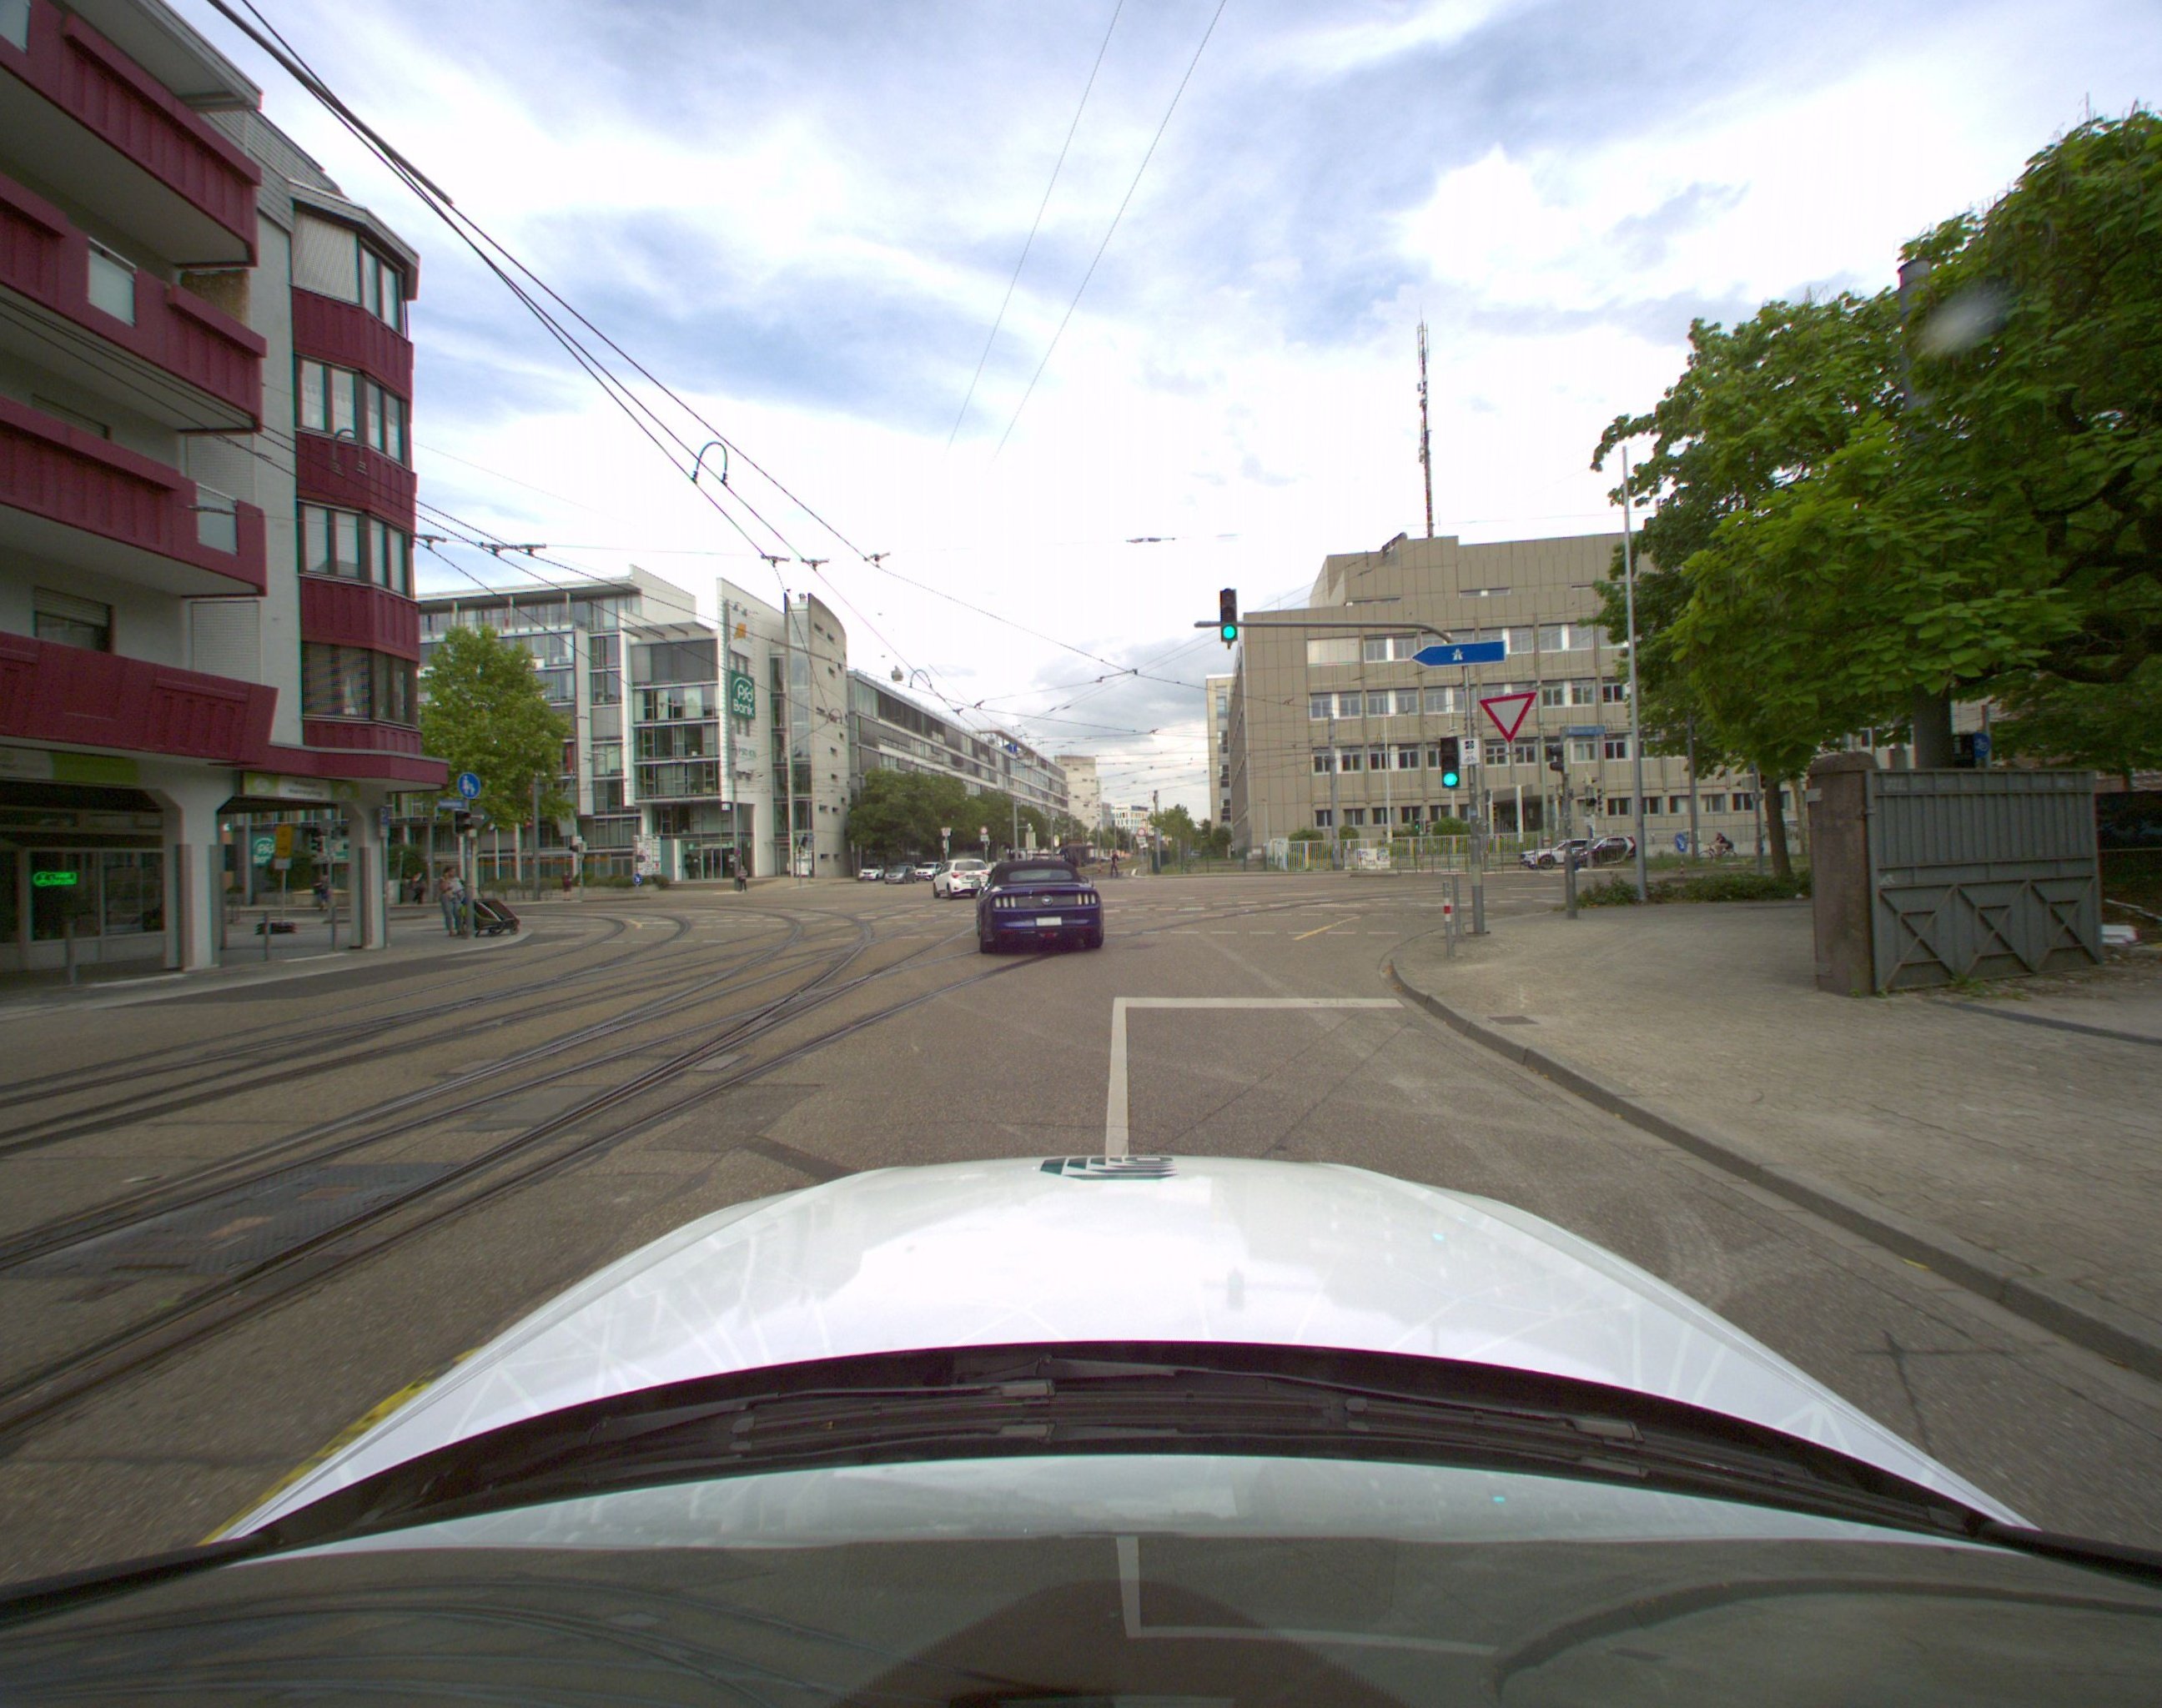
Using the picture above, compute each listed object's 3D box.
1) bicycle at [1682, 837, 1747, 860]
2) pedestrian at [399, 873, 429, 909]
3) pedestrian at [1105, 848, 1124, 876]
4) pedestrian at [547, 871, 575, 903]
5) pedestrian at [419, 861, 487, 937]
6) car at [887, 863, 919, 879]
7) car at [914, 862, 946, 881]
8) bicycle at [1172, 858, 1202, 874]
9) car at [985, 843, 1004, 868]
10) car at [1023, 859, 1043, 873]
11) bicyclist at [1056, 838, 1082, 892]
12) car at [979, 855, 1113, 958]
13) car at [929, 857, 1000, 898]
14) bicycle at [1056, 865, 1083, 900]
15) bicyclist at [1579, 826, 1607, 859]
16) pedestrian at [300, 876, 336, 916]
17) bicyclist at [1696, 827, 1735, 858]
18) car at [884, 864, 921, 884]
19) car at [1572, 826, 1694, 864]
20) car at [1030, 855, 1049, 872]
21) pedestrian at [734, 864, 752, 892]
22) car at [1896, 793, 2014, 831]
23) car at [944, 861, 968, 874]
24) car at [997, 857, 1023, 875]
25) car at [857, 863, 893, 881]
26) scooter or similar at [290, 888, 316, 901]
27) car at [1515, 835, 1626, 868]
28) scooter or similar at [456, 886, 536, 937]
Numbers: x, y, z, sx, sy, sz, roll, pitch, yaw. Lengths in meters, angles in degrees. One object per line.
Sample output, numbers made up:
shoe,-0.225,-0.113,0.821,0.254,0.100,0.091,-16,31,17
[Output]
bicycle,32.901,-0.261,42.341,2.537,1.086,0.805,-2,-1,11
pedestrian,-35.548,1.944,43.405,0.839,1.855,0.841,-2,-1,2
pedestrian,2.362,0.573,57.073,1.078,1.898,0.905,-2,-1,12
pedestrian,-27.663,1.748,43.339,0.928,1.671,0.769,-2,-1,16
pedestrian,-15.065,1.059,19.560,0.944,1.743,0.812,-2,-1,0
car,-18.111,1.684,82.934,1.819,1.556,4.225,0,0,8
car,-13.877,1.572,74.982,1.705,1.660,4.142,0,0,8
bicycle,7.277,0.843,56.137,0.637,0.981,2.133,-2,-3,-38
car,-12.733,0.219,119.948,1.977,3.637,4.518,0,0,5
car,-5.563,1.377,94.888,1.860,1.606,4.217,-2,0,4
bicyclist,-0.396,0.378,27.844,0.793,1.785,1.233,-2,-1,1
car,-0.749,0.740,13.568,1.875,1.404,4.271,0,0,-8
car,-4.618,0.891,31.767,1.842,1.439,4.157,-2,0,-21
bicycle,-0.378,0.956,27.741,0.797,1.086,2.132,-2,0,2
bicyclist,27.426,-0.600,43.601,1.167,1.701,0.808,-1,0,27
pedestrian,-37.784,2.064,40.344,0.797,1.899,1.006,-2,0,11
bicyclist,32.977,-0.585,42.332,1.316,1.550,0.805,-2,-1,11
car,-14.704,1.645,67.408,1.658,1.506,4.244,0,0,8
car,25.856,-0.410,38.310,4.376,1.566,1.843,-2,0,12
car,-5.006,1.107,99.752,1.777,1.987,4.125,-2,0,4
pedestrian,-23.710,1.686,57.117,0.827,1.865,0.769,-2,-1,16
car,63.275,-2.996,59.153,2.548,2.399,5.909,-2,0,5
car,-15.434,1.685,100.841,1.977,1.556,4.518,0,0,5
car,-7.037,1.172,81.284,1.871,1.628,4.091,-2,0,4
car,-19.125,1.621,75.704,1.819,1.556,4.225,0,0,8
scooter or similar,-60.863,3.157,63.707,1.840,0.950,0.592,-2,-1,14
car,24.767,-0.108,41.350,4.379,1.504,2.005,-2,0,9
scooter or similar,-14.044,1.373,19.582,1.191,1.128,0.947,-1,0,1
